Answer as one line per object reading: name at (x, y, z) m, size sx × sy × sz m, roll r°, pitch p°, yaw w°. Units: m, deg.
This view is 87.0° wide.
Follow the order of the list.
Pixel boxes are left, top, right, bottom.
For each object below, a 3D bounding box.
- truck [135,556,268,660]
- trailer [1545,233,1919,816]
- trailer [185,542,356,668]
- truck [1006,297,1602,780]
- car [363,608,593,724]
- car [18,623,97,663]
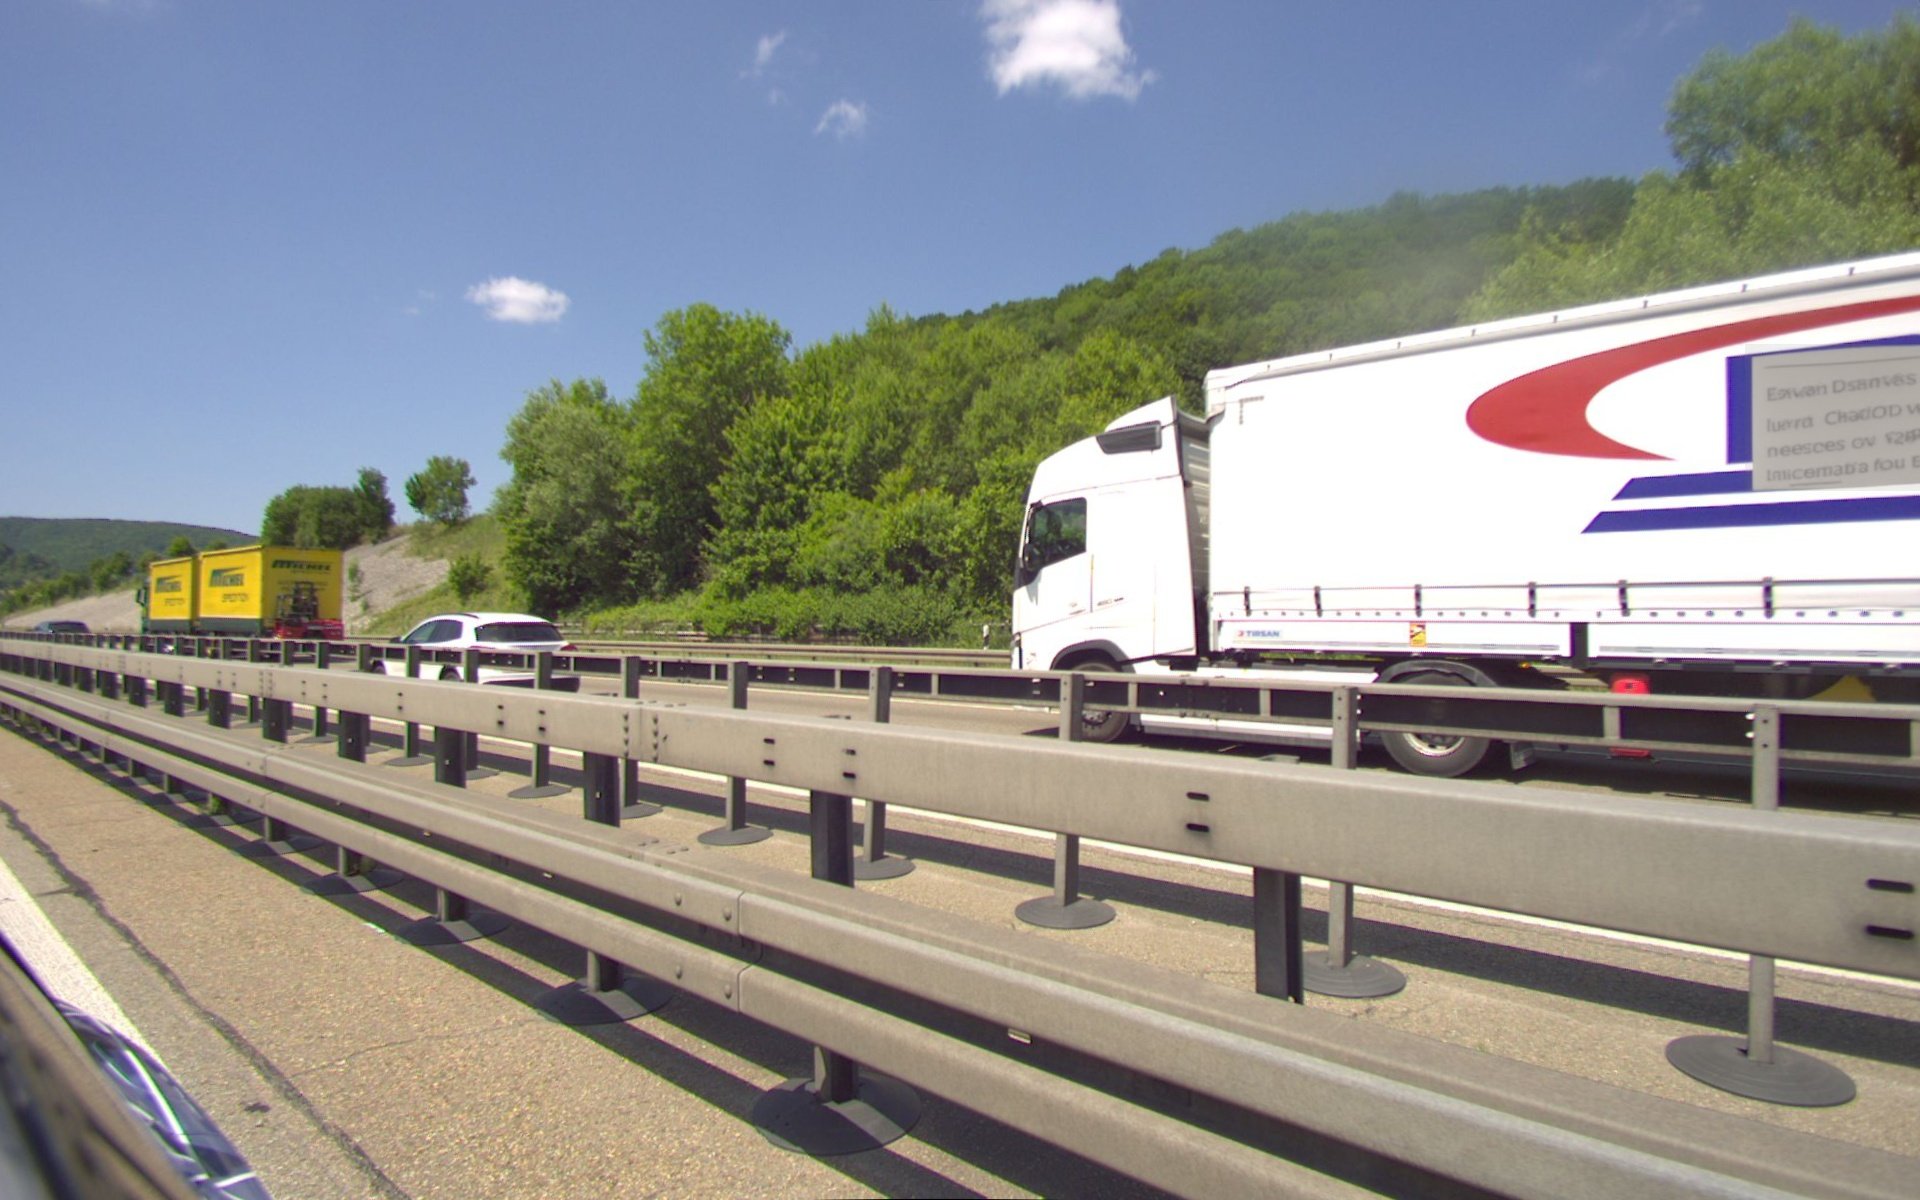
truck at (-33.561, 0.393, 44.597) m, size 9.610 × 4.178 × 2.797 m, roll -1°, pitch -1°, yaw 41°
trailer at (10.189, -0.576, 6.038) m, size 11.255 × 4.107 × 2.827 m, roll -1°, pitch -2°, yaw 41°
trailer at (-26.080, 0.229, 37.997) m, size 10.400 × 4.178 × 2.797 m, roll -1°, pitch -1°, yaw 41°
truck at (3.709, -0.448, 11.654) m, size 5.845 × 4.133 × 2.879 m, roll -1°, pitch -3°, yaw 41°
car at (-7.459, 0.922, 15.509) m, size 3.998 × 1.530 × 1.729 m, roll -1°, pitch -1°, yaw 41°
car at (-38.366, 1.816, 42.994) m, size 4.747 × 1.608 × 1.827 m, roll -2°, pitch -2°, yaw 40°
